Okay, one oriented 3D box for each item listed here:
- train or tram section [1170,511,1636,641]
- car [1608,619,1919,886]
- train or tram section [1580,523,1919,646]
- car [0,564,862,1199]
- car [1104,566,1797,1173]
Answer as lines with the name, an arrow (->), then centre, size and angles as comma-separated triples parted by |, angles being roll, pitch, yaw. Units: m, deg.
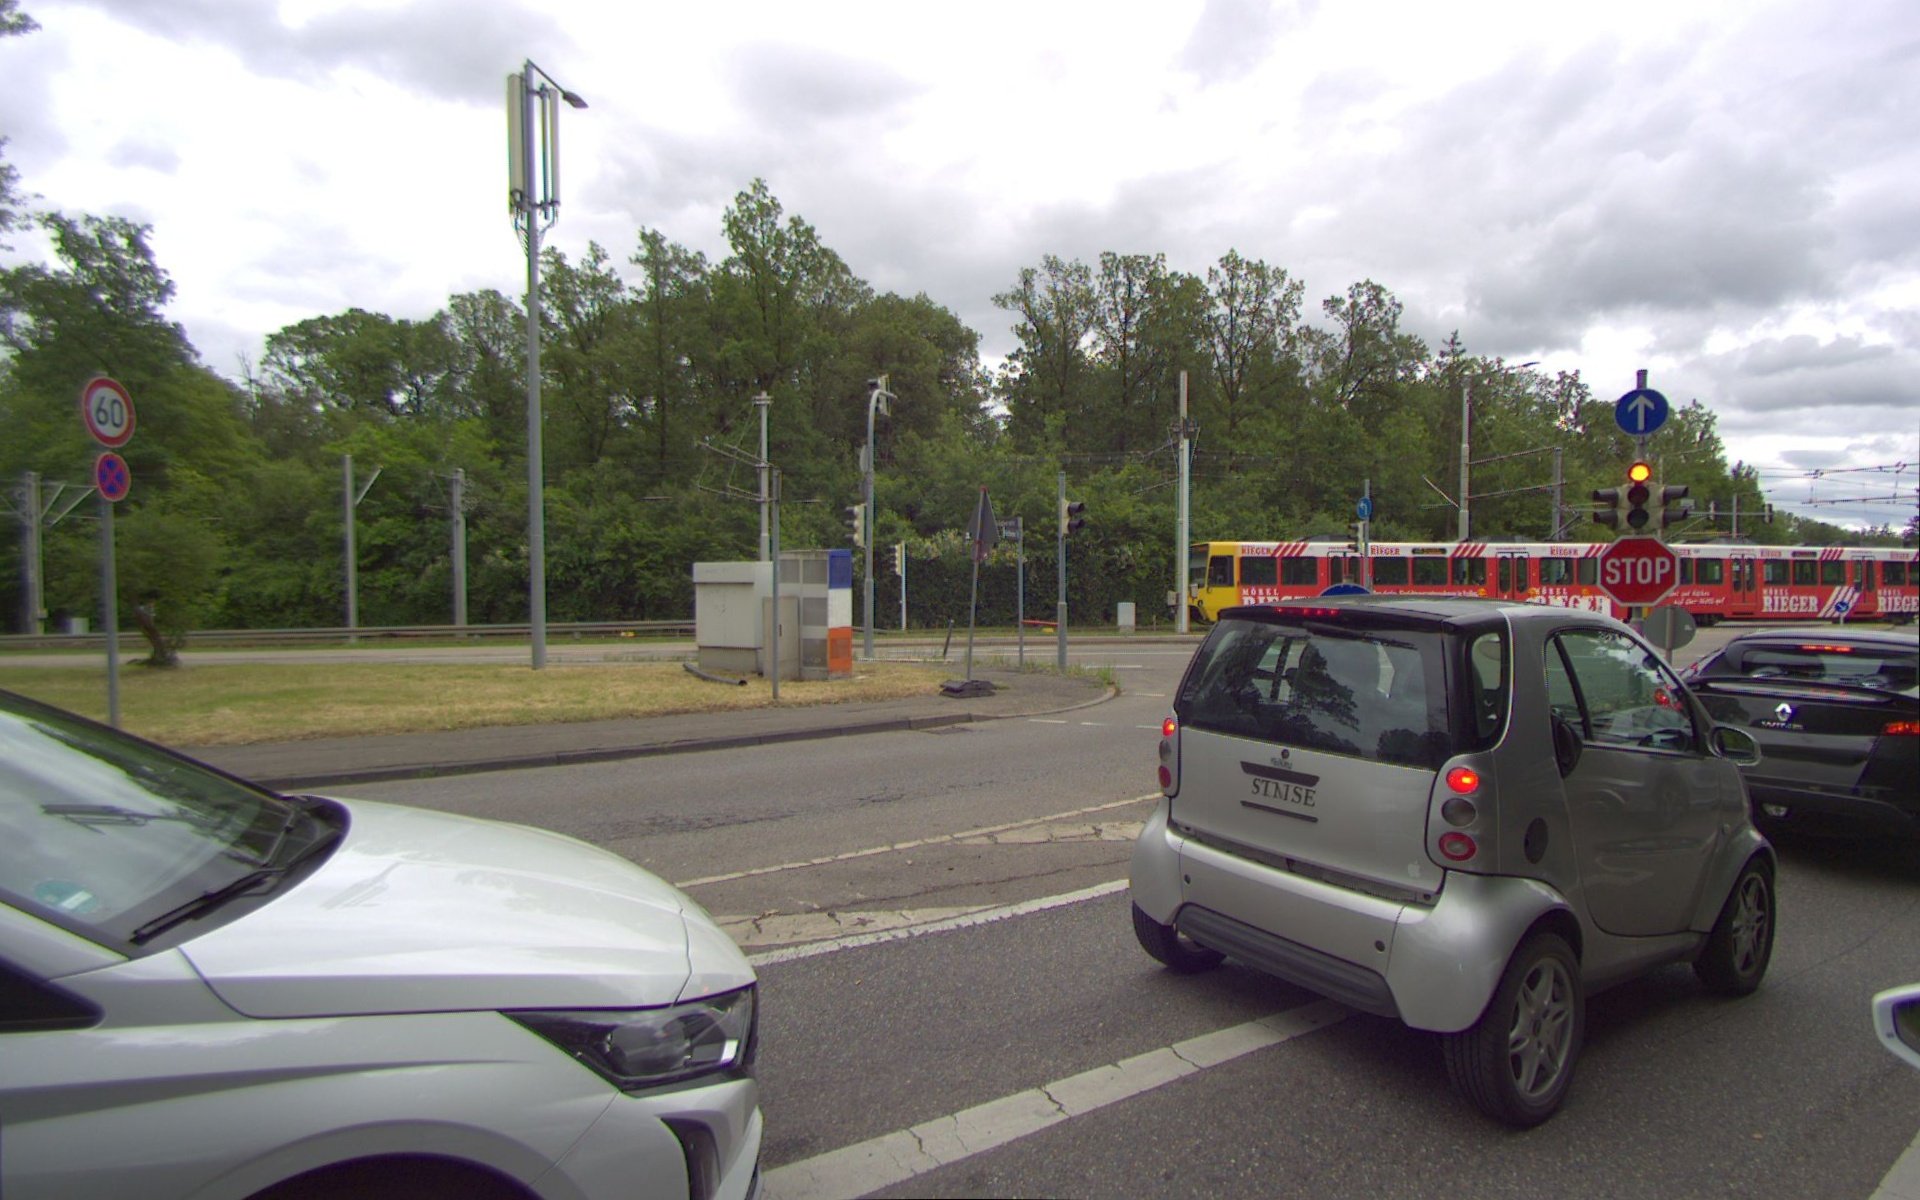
train or tram section -> 17.893, -0.852, 40.721 | 18.384, 4.477, 2.962 | 2, 0, -8
car -> 6.039, 0.842, 6.922 | 3.448, 1.380, 1.759 | 0, 0, -41
train or tram section -> 36.116, -0.494, 44.736 | 18.242, 4.712, 2.946 | 2, 0, -16
car -> -2.325, 0.706, 1.618 | 4.022, 1.499, 1.643 | 0, 0, -28
car -> 2.055, 0.722, 4.057 | 2.701, 1.607, 1.447 | 0, 0, -36
